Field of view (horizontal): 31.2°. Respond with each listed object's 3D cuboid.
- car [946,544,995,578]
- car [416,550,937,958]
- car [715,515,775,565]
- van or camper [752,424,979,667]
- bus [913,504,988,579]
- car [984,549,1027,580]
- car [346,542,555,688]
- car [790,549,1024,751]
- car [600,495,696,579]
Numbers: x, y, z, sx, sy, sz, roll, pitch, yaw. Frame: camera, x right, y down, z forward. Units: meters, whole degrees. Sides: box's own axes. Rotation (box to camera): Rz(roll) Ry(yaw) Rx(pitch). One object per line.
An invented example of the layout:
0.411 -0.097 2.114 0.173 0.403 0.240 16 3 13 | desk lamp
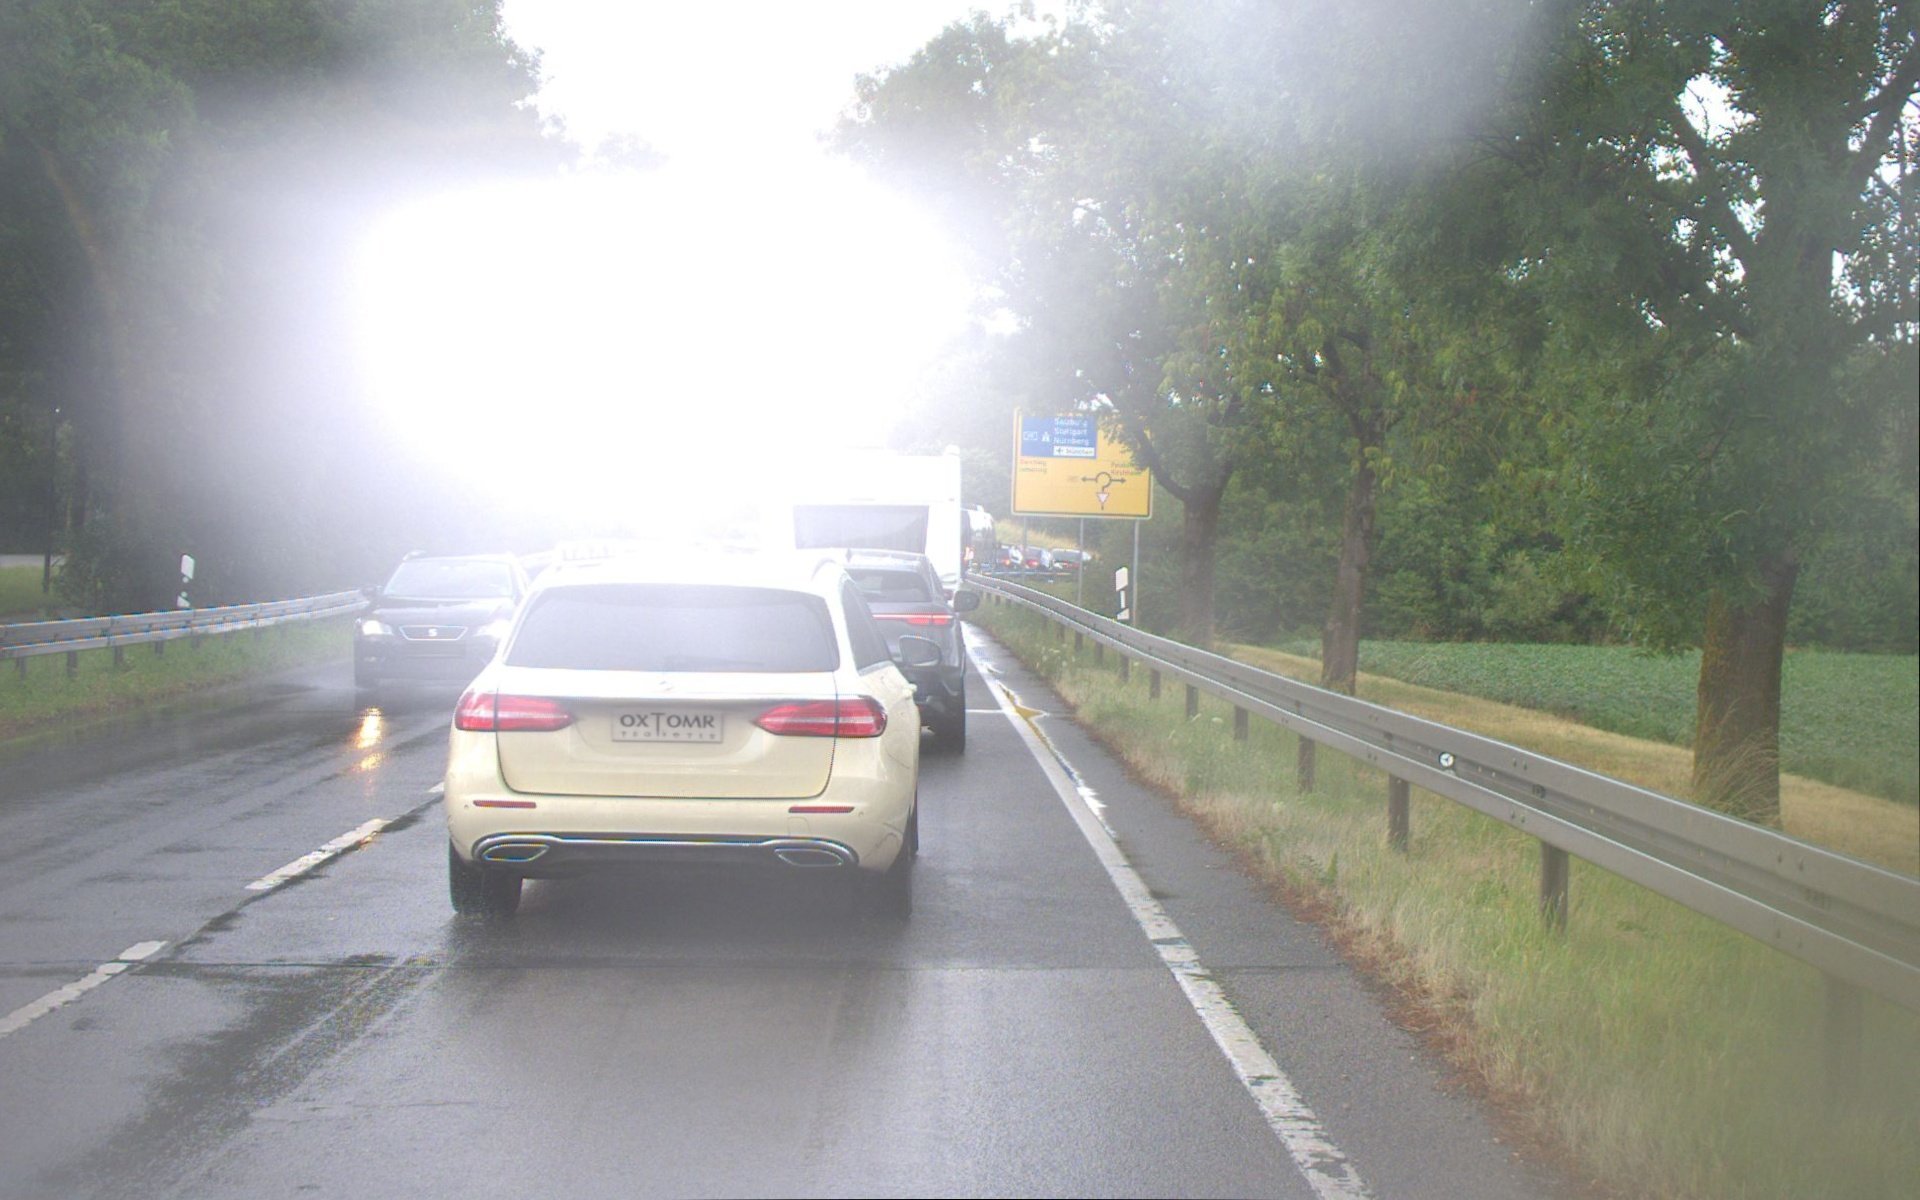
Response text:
0.342 -1.341 118.472 1.551 1.114 4.000 1 1 -1 | car
-1.054 0.536 14.619 1.865 1.471 4.000 0 1 0 | car
-6.424 -1.801 103.043 1.628 1.433 3.960 1 1 -1 | car
-1.051 -0.665 41.344 2.489 2.676 5.700 1 1 0 | van or camper
-0.284 -1.625 95.084 1.993 2.007 4.000 0 1 -1 | bus
1.690 -1.318 127.949 1.551 1.114 4.000 1 1 0 | car
-5.401 0.122 36.868 1.714 1.446 4.111 1 1 -1 | car
-0.374 0.326 26.575 1.664 1.426 4.000 0 1 0 | car
-6.878 -1.393 76.130 1.828 1.796 4.415 0 1 -1 | car
